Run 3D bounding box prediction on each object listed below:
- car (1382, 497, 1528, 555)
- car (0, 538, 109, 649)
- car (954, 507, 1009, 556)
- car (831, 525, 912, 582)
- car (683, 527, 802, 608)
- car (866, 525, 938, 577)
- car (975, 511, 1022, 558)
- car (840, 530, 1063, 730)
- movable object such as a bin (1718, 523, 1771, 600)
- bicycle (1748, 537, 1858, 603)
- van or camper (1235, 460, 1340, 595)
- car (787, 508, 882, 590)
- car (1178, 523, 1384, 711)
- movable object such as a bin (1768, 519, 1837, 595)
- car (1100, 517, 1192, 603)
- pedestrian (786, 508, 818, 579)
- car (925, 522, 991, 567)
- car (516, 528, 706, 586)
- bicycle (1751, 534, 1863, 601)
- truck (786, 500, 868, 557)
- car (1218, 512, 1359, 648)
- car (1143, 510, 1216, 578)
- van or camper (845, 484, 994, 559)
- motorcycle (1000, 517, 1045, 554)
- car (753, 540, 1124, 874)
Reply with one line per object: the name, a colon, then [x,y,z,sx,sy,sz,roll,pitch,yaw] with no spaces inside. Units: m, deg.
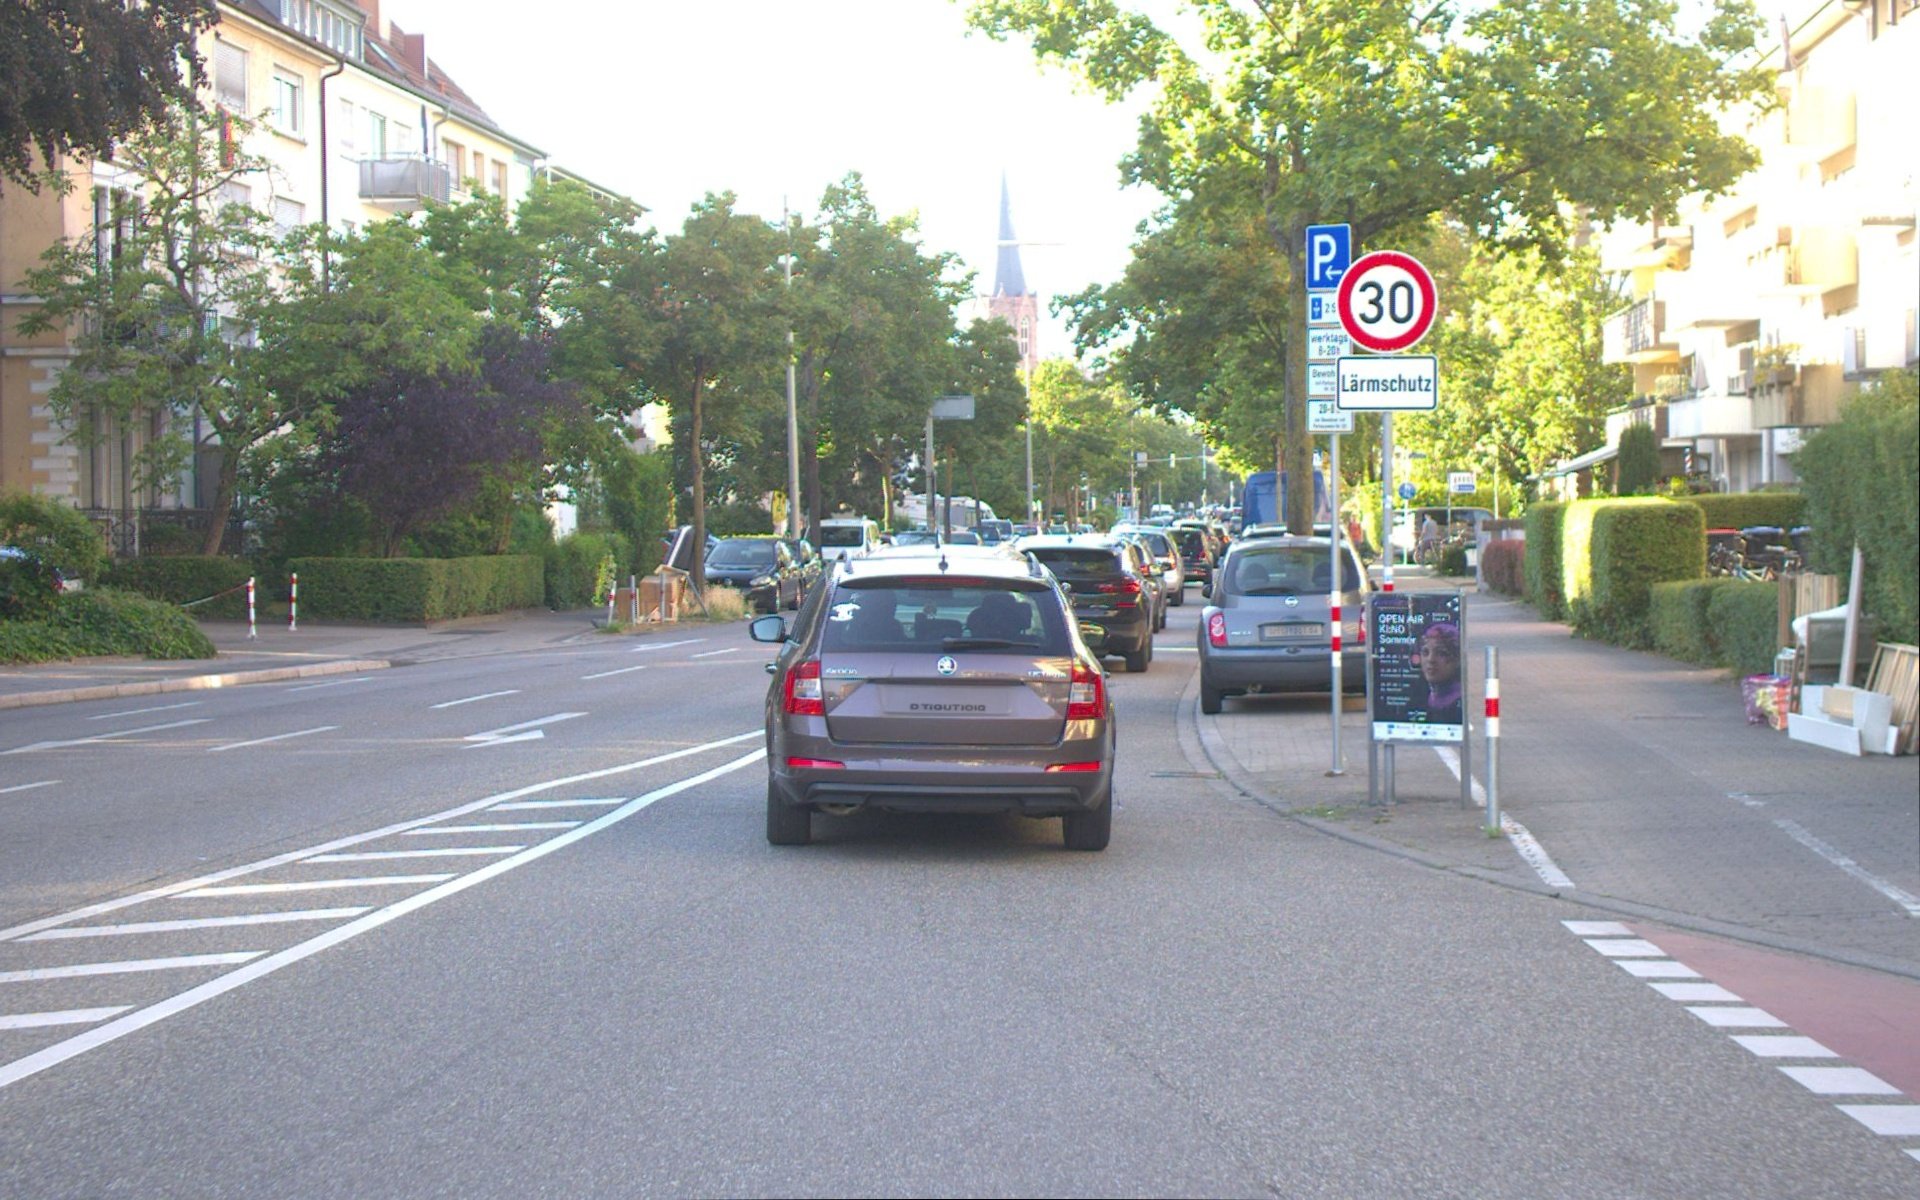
car: [16.790,-2.513,116.553,4.532,1.886,1.915,-1,2,-22]
car: [-13.887,-0.097,48.029,3.497,1.481,1.816,-1,2,2]
car: [0.821,-2.570,128.126,1.750,1.734,3.590,0,2,5]
car: [-2.351,-1.251,91.908,1.717,1.416,3.786,0,2,5]
car: [-4.323,-0.671,68.823,1.750,1.497,4.196,0,2,5]
car: [-1.727,-1.492,103.536,1.717,1.492,4.247,0,2,5]
car: [1.507,-2.538,132.751,1.507,1.751,3.693,0,2,5]
car: [-0.020,0.196,28.846,1.729,1.488,3.951,-1,2,1]
movable object such as a bin: [10.493,-0.522,45.990,0.582,0.999,0.796,0,2,5]
bicycle: [11.066,-0.399,45.163,1.359,0.851,0.365,0,2,5]
van or camper: [6.818,-1.503,71.721,2.068,2.666,5.989,0,1,5]
car: [-3.049,-1.272,84.380,1.770,1.912,4.459,0,2,5]
car: [2.887,0.107,31.016,1.733,1.545,3.646,0,2,5]
movable object such as a bin: [11.247,-0.578,45.903,0.776,0.999,0.796,0,2,5]
car: [3.793,-0.831,69.615,1.733,1.645,3.541,0,2,5]
pedestrian: [-4.501,-1.623,97.947,0.767,2.006,0.976,0,2,5]
car: [-0.039,-1.874,114.979,1.754,1.415,4.425,0,2,6]
car: [-8.850,-1.090,86.915,4.709,1.358,2.001,-1,2,-7]
bicycle: [11.015,-0.422,44.709,1.370,0.851,0.368,0,2,7]
truck: [-5.010,-2.710,130.062,2.914,2.086,1.546,0,2,5]
car: [4.275,-0.302,44.847,1.733,1.645,4.291,0,2,5]
car: [5.574,-1.438,87.083,1.733,1.645,3.541,0,2,5]
van or camper: [-2.104,-4.115,179.817,7.641,3.861,2.000,-1,2,4]
motorcycle: [2.611,-2.677,143.051,0.764,1.506,2.030,-2,2,-37]
car: [-0.212,0.466,18.132,1.729,1.488,3.951,-1,2,-3]
